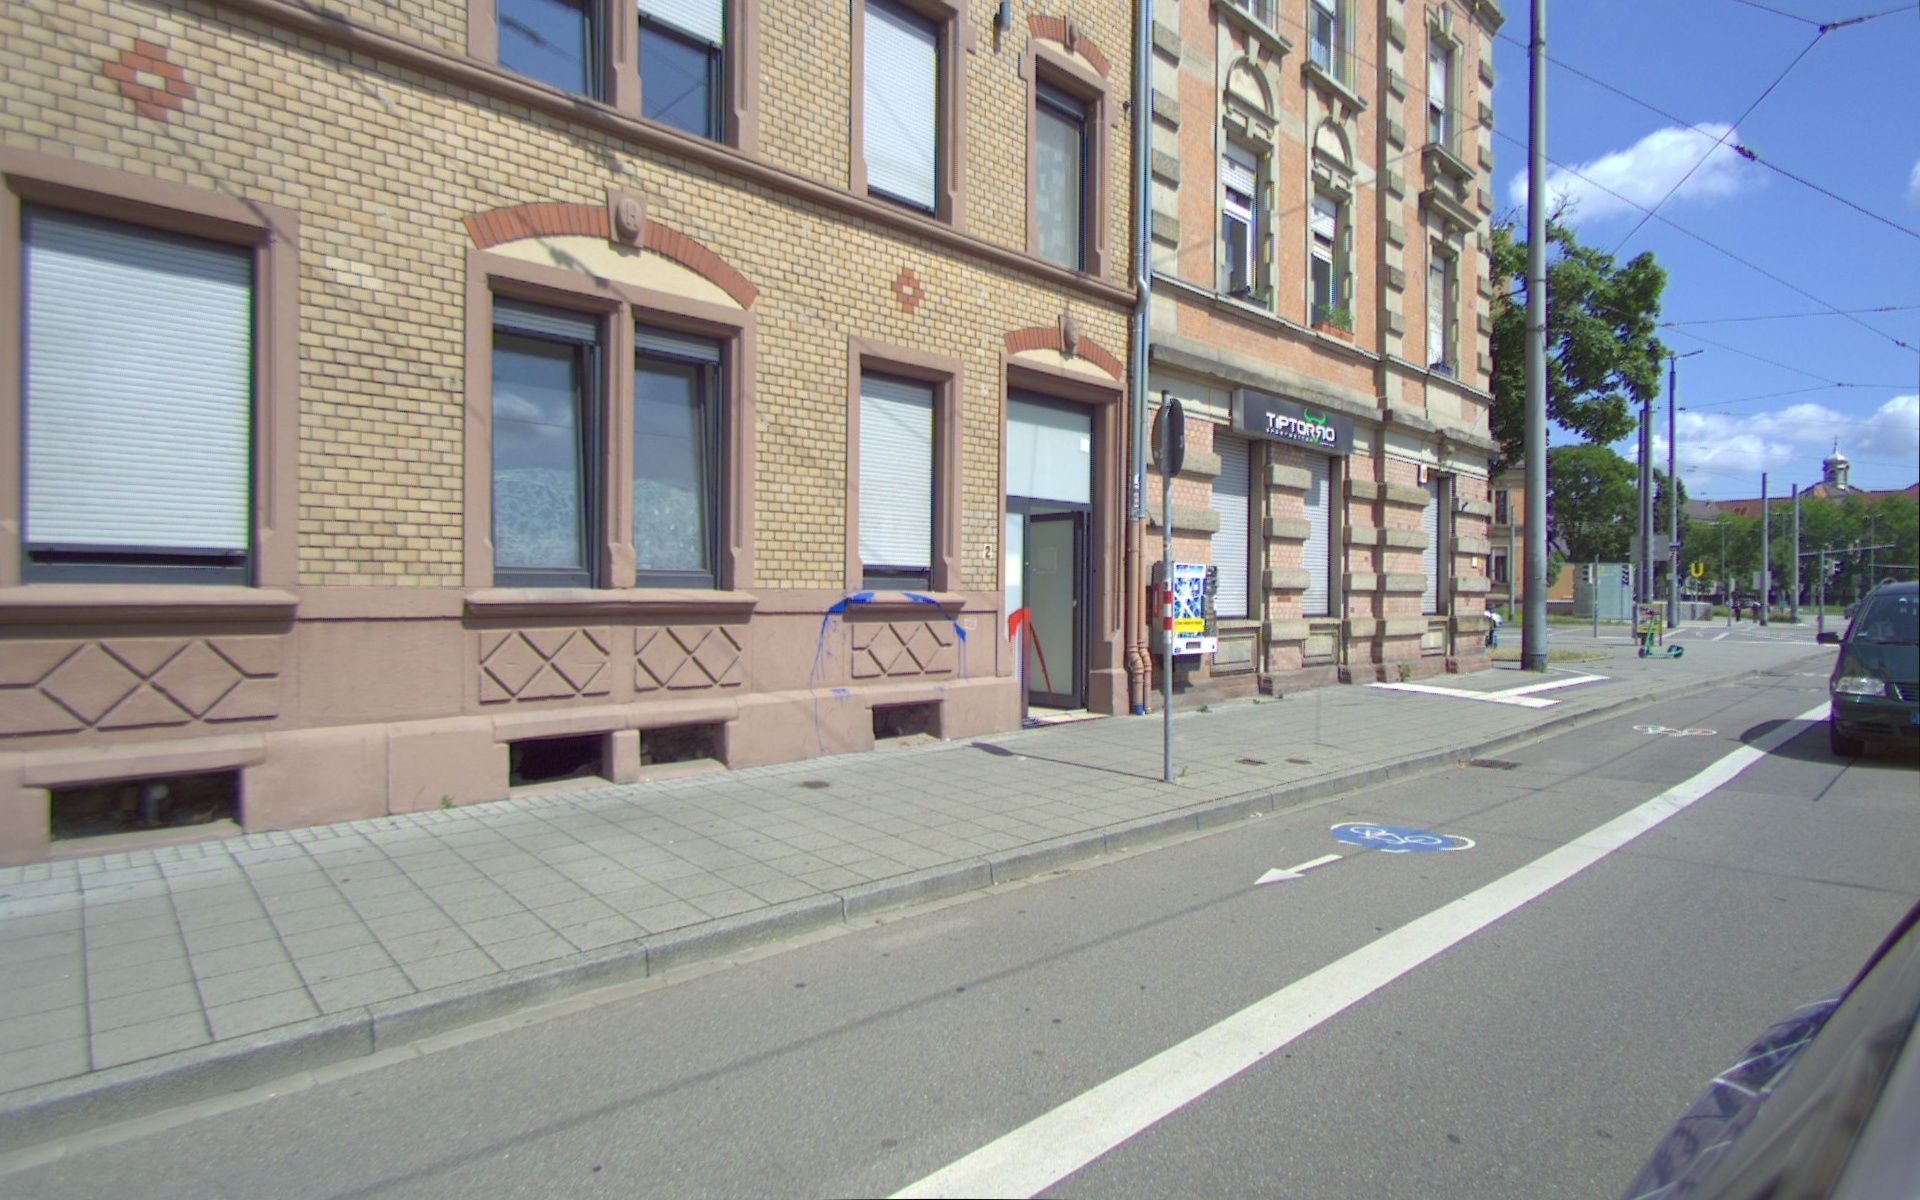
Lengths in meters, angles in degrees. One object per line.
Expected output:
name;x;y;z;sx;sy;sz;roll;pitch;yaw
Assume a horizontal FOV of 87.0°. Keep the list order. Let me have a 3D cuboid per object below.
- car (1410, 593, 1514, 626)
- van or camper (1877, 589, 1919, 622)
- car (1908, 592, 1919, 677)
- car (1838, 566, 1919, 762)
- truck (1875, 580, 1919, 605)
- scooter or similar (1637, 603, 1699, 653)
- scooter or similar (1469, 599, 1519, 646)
car;25.327;0.446;51.186;4.354;1.607;1.869;0;0;9
van or camper;81.474;0.441;87.718;2.218;2.770;5.452;1;0;35
car;20.677;0.641;20.541;4.354;1.637;1.869;0;-1;-44
car;10.234;0.568;10.110;4.016;1.739;1.816;0;0;-43
truck;118.381;-0.973;126.930;3.326;3.036;8.646;1;0;29
scooter or similar;17.657;0.679;25.242;1.066;1.194;0.950;0;1;-36
scooter or similar;14.871;0.611;28.180;0.947;1.218;1.370;2;2;41
